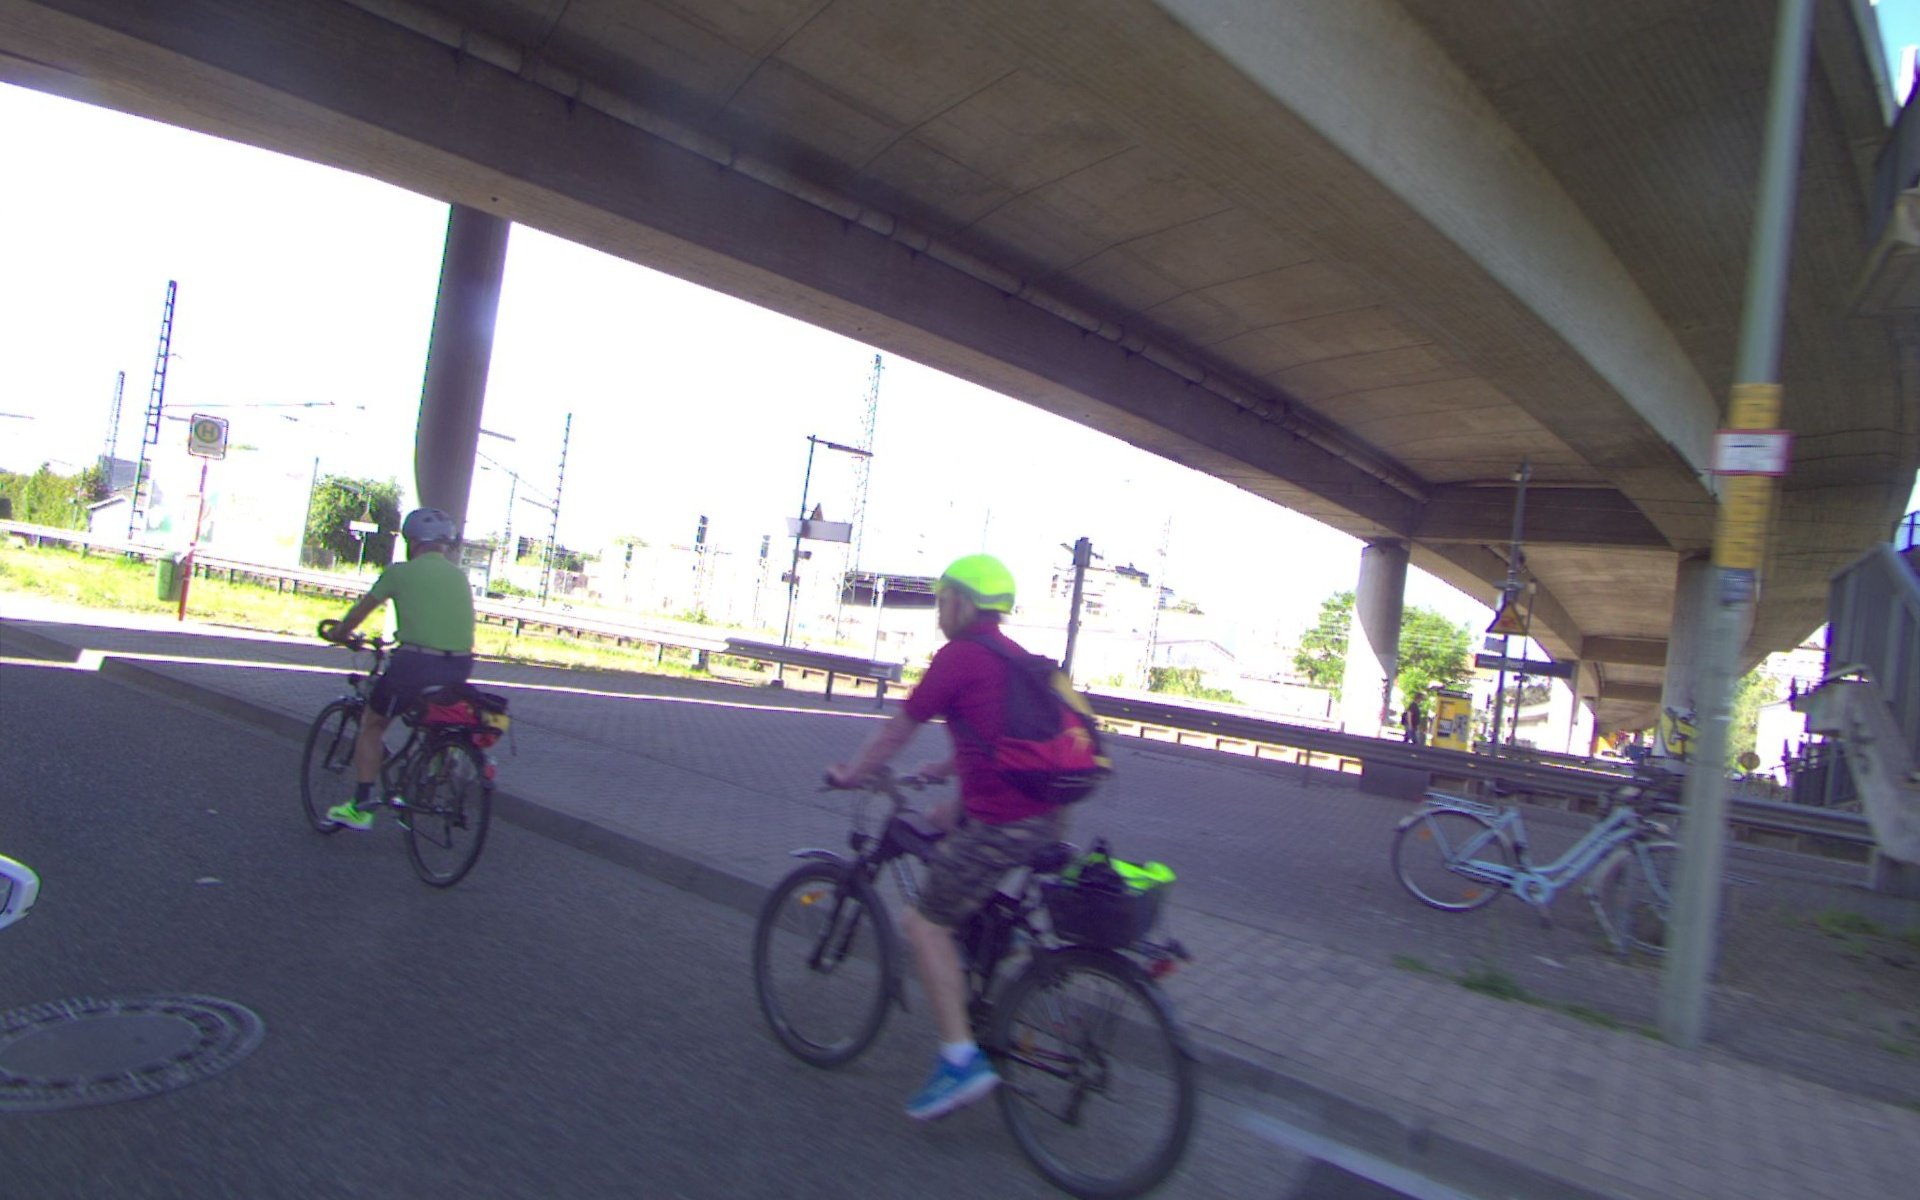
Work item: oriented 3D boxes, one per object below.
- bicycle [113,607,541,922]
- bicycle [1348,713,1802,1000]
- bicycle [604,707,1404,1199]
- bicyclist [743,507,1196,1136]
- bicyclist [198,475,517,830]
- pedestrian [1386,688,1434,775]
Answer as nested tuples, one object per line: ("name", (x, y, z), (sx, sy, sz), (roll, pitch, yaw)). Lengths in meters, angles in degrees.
("bicycle", (-3.197, 0.717, 5.015), (2.153, 1.063, 0.842), (7, -2, 32))
("bicycle", (3.589, 1.445, 6.101), (2.143, 1.196, 0.599), (7, -1, 27))
("bicycle", (0.065, 1.023, 3.030), (2.153, 1.063, 0.843), (7, -2, 30))
("bicyclist", (0.062, 0.566, 3.073), (0.908, 1.505, 0.843), (7, -2, 30))
("bicyclist", (-2.922, 0.240, 4.918), (0.908, 1.505, 0.843), (7, -2, 30))
("pedestrian", (11.300, 3.291, 25.246), (0.821, 2.037, 0.895), (7, -2, 30))
